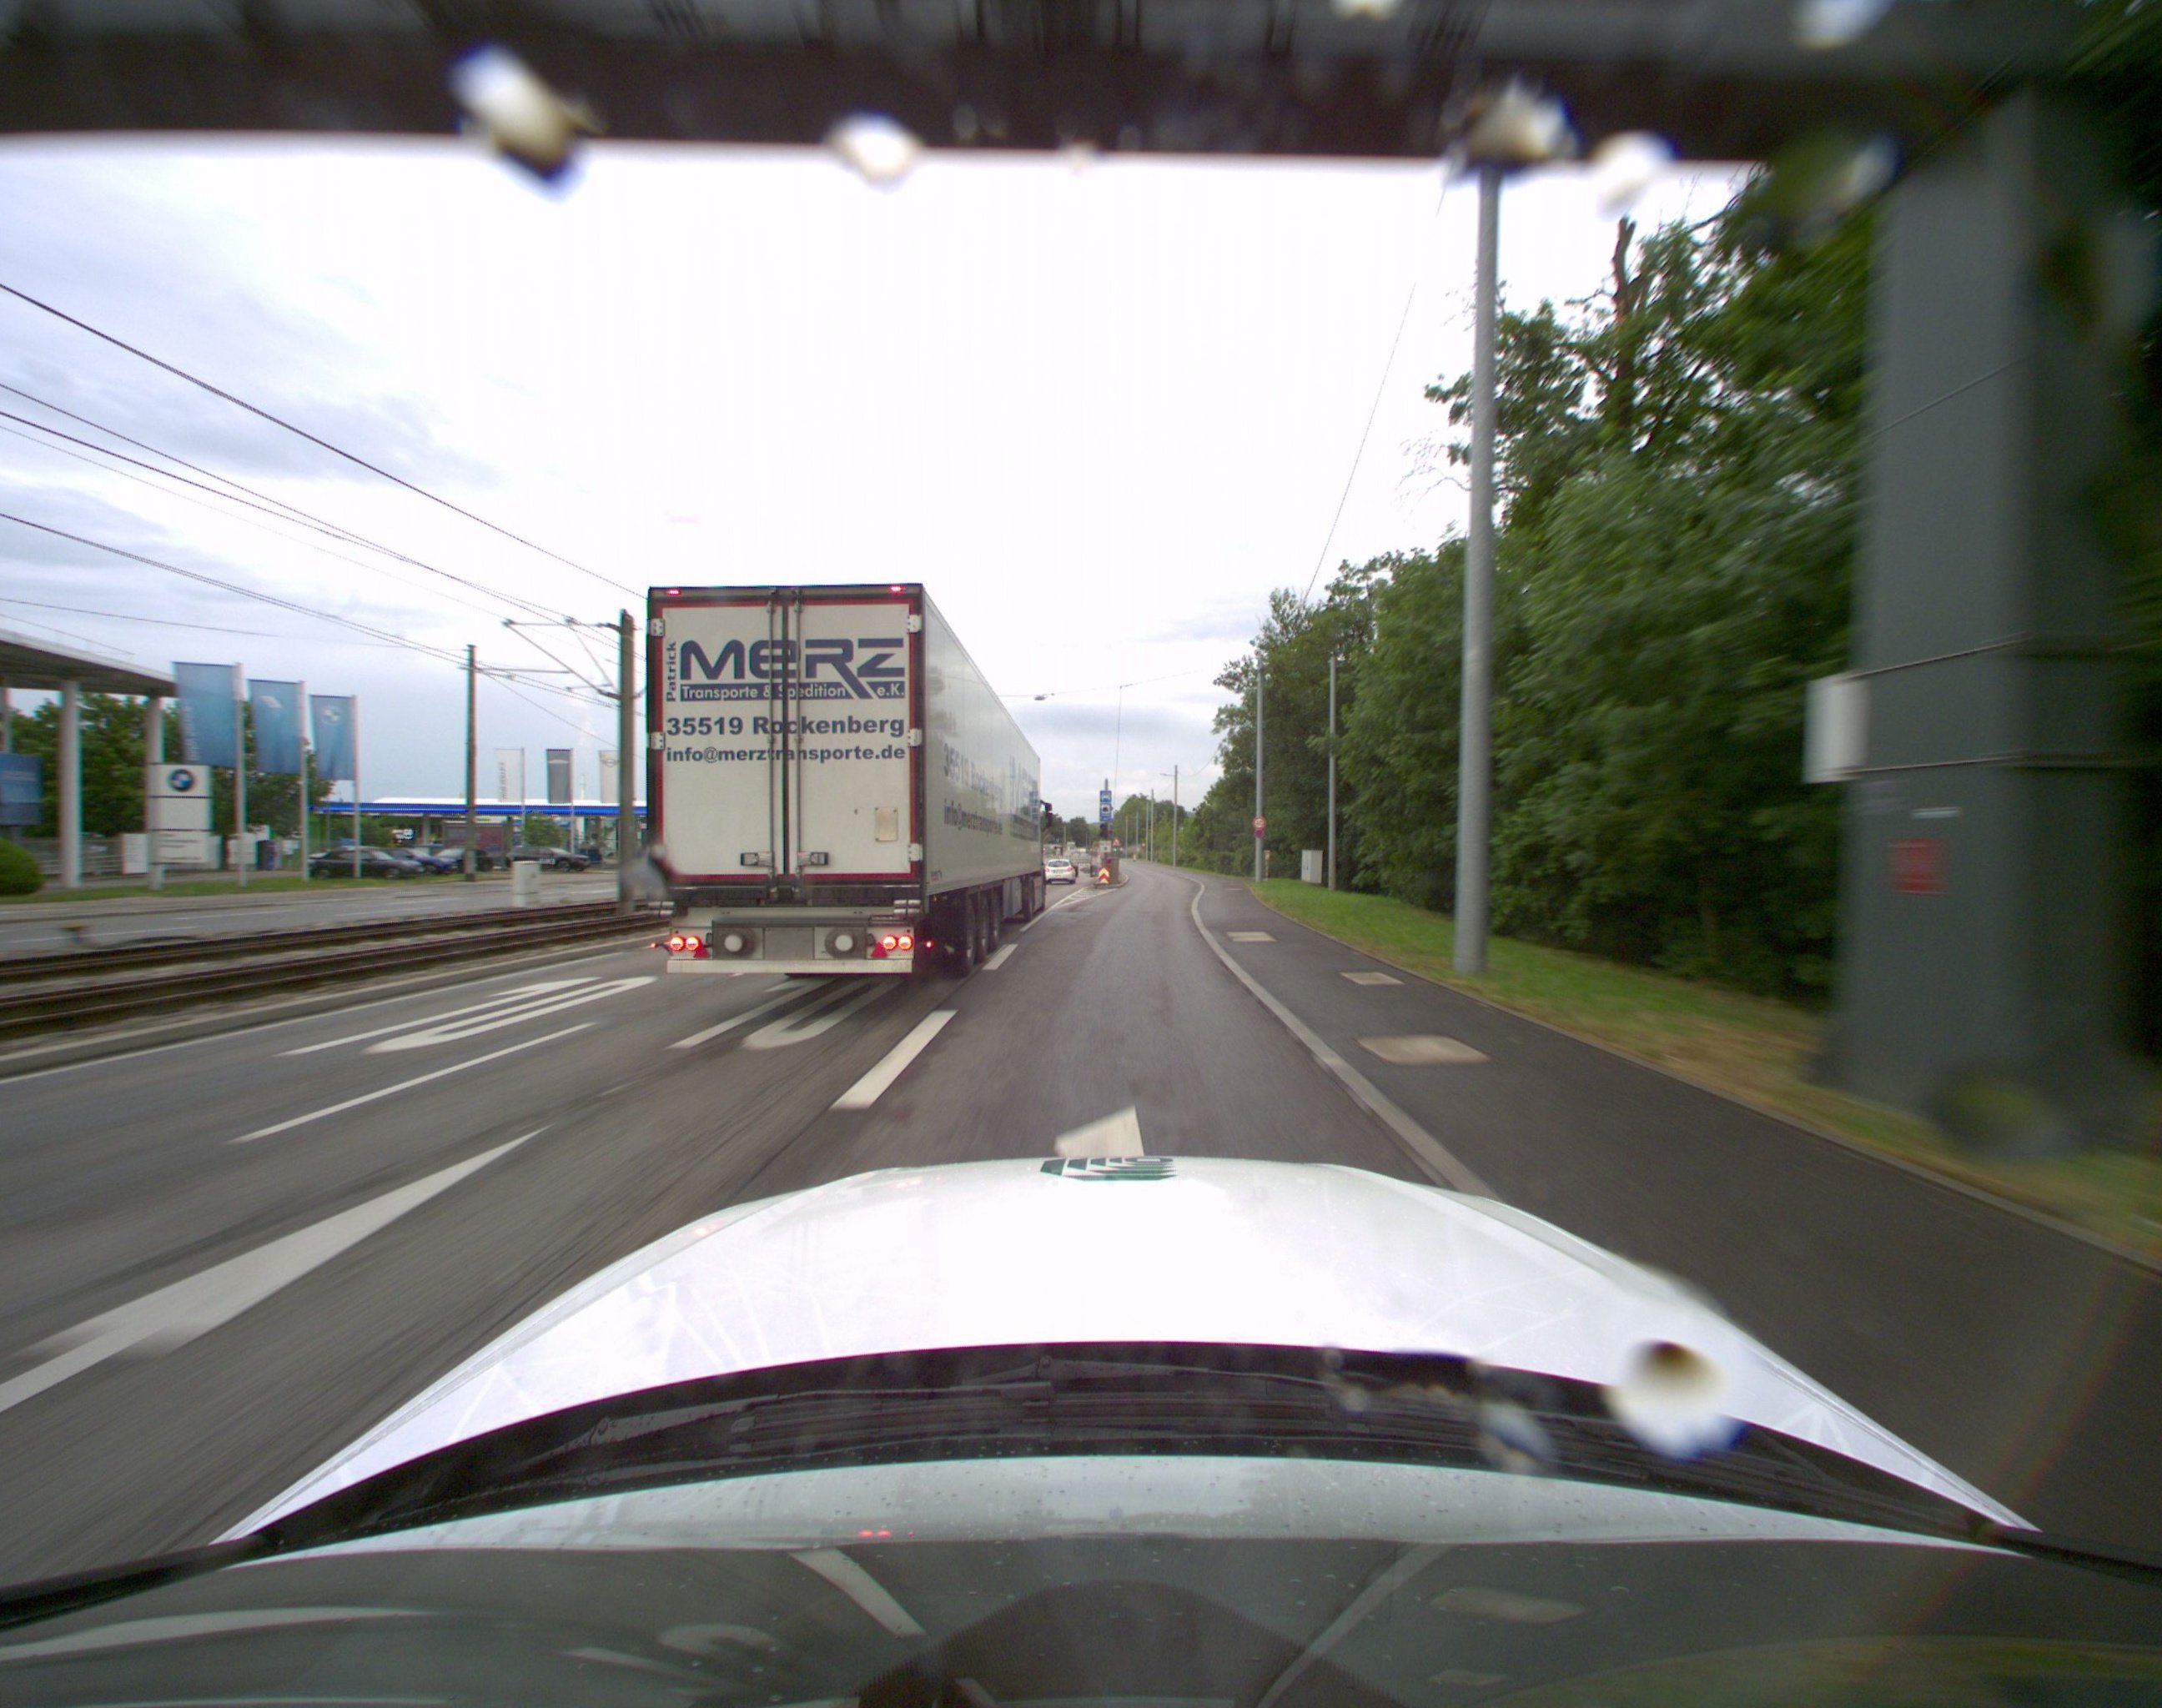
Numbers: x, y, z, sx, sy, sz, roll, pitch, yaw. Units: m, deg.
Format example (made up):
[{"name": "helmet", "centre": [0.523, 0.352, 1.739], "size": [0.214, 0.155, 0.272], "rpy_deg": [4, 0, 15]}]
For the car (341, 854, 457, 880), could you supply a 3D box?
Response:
[{"name": "car", "centre": [-33.616, 0.616, 40.280], "size": [4.001, 1.235, 1.748], "rpy_deg": [0, -1, -21]}]

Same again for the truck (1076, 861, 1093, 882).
[{"name": "truck", "centre": [0.751, 3.552, 166.554], "size": [3.506, 4.040, 8.074], "rpy_deg": [-1, 0, 0]}]

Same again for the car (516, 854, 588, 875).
[{"name": "car", "centre": [-33.651, 0.663, 51.851], "size": [3.500, 1.274, 1.718], "rpy_deg": [0, 0, 4]}]

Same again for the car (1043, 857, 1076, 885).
[{"name": "car", "centre": [-1.246, 0.972, 48.630], "size": [1.804, 1.423, 4.001], "rpy_deg": [-1, 2, 0]}]

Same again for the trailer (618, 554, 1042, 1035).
[{"name": "trailer", "centre": [-2.573, -0.558, 13.888], "size": [2.752, 4.252, 13.187], "rpy_deg": [-1, 0, 1]}]

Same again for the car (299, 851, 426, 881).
[{"name": "car", "centre": [-32.684, 0.544, 37.175], "size": [4.001, 1.235, 1.692], "rpy_deg": [1, 2, -21]}]

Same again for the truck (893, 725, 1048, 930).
[{"name": "truck", "centre": [-2.429, -0.561, 20.123], "size": [2.746, 4.205, 6.308], "rpy_deg": [-1, 0, 1]}]

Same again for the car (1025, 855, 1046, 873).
[{"name": "car", "centre": [-4.106, 0.898, 74.079], "size": [1.676, 1.446, 4.001], "rpy_deg": [-1, 2, 0]}]
